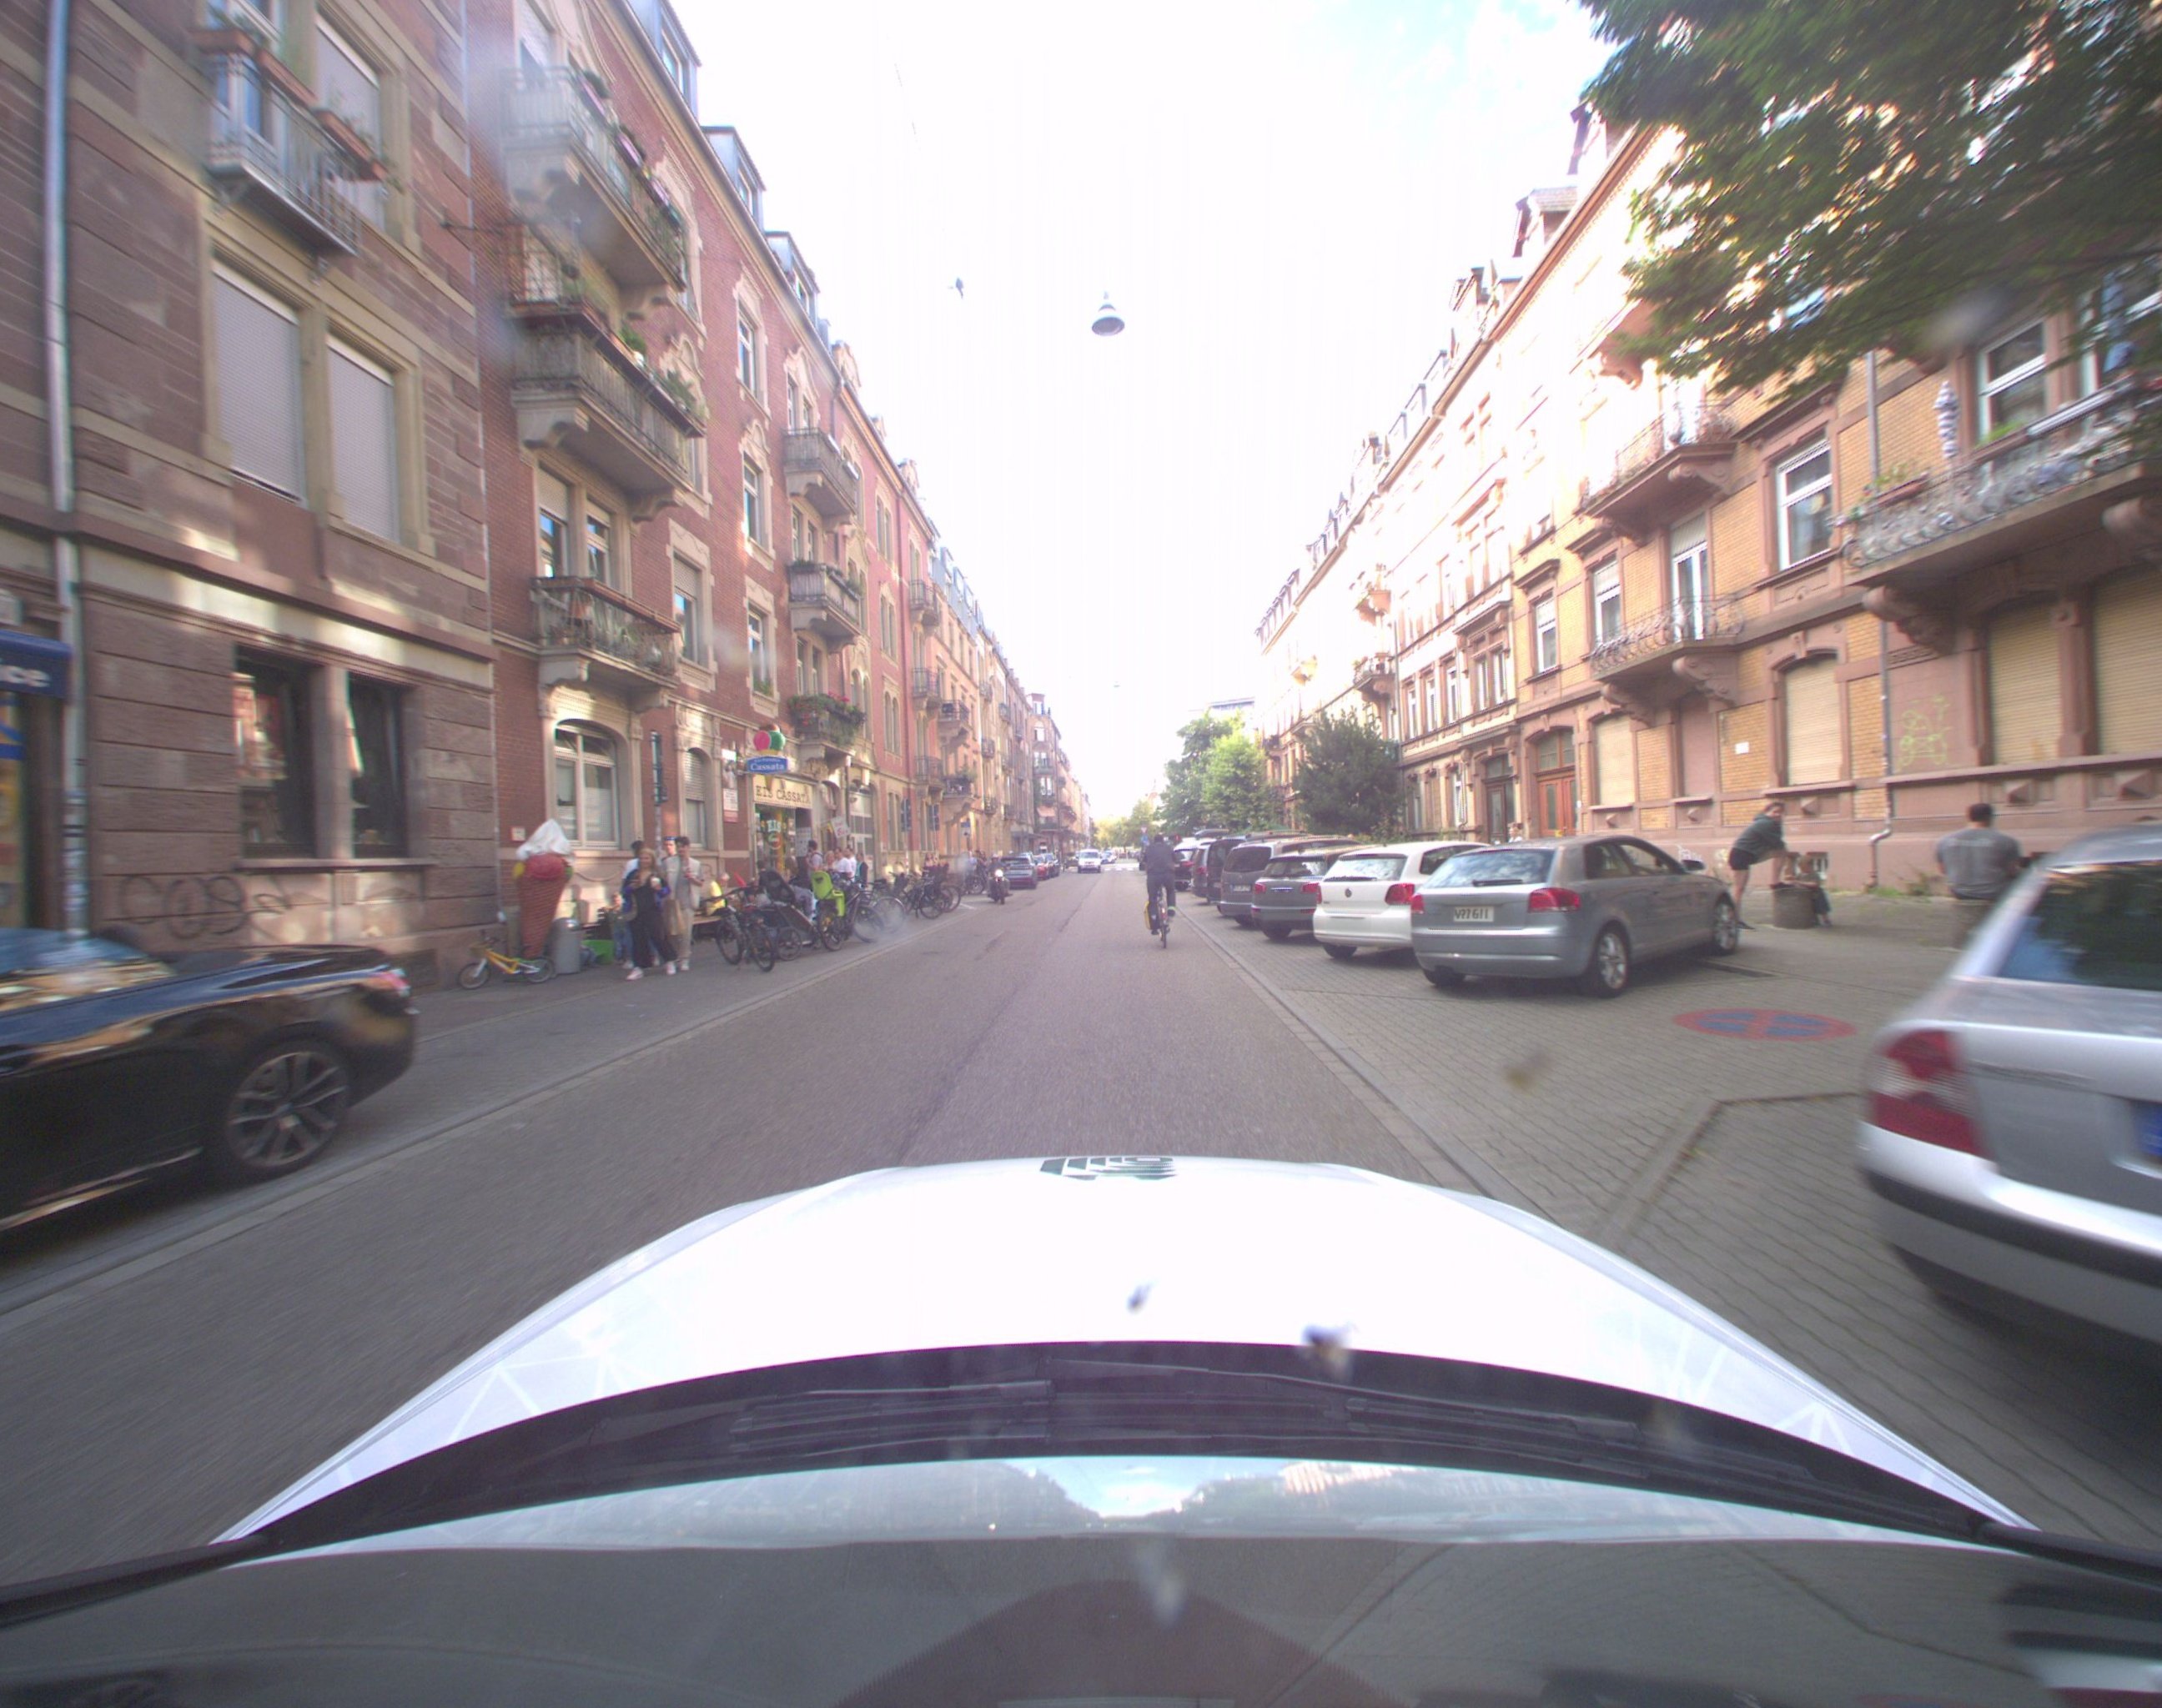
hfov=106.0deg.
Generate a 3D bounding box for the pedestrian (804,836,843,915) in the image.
[{"bbox_3d":[-6.222,0.502,19.690,0.765,1.854,0.659,-1,0,-29],"label":"pedestrian"}]

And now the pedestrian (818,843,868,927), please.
[{"bbox_3d":[-5.079,0.650,17.410,0.600,1.751,0.949,-1,0,15],"label":"pedestrian"}]

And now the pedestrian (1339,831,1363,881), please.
[{"bbox_3d":[8.983,0.063,27.122,0.571,1.659,0.633,-1,0,3],"label":"pedestrian"}]

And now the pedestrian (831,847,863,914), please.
[{"bbox_3d":[-6.070,0.678,21.120,0.667,1.696,0.580,-1,0,-28],"label":"pedestrian"}]

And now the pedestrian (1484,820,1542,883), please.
[{"bbox_3d":[10.873,-0.065,20.511,0.926,1.497,0.811,-3,0,-5],"label":"pedestrian"}]

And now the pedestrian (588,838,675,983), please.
[{"bbox_3d":[-5.717,0.691,10.365,0.753,1.759,0.670,-1,0,32],"label":"pedestrian"}]

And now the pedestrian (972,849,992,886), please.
[{"bbox_3d":[-4.904,0.669,40.283,0.752,1.808,0.864,-1,0,6],"label":"pedestrian"}]

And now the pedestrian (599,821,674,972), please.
[{"bbox_3d":[-6.174,0.572,11.322,0.637,2.013,0.634,-2,0,30],"label":"pedestrian"}]

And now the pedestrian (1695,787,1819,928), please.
[{"bbox_3d":[8.348,0.045,10.093,0.729,1.634,0.833,-4,-1,0],"label":"pedestrian"}]

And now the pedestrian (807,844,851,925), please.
[{"bbox_3d":[-5.573,0.655,18.035,0.600,1.751,0.728,-1,0,13],"label":"pedestrian"}]

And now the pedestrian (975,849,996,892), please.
[{"bbox_3d":[-3.815,0.649,32.399,0.567,1.709,0.661,-1,0,-33],"label":"pedestrian"}]

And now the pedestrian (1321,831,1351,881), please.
[{"bbox_3d":[8.696,0.065,27.756,0.651,1.695,0.691,-1,0,-41],"label":"pedestrian"}]

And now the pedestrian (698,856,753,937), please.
[{"bbox_3d":[-6.662,0.789,15.274,0.600,1.470,0.728,-1,0,13],"label":"pedestrian"}]

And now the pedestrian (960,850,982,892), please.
[{"bbox_3d":[-4.397,0.679,32.549,0.683,1.661,0.546,-1,0,-28],"label":"pedestrian"}]

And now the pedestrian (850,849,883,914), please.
[{"bbox_3d":[-5.690,0.716,21.589,0.639,1.696,0.569,-1,0,40],"label":"pedestrian"}]

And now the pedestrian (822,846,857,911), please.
[{"bbox_3d":[-6.471,0.649,21.874,0.661,1.696,0.764,-1,0,2],"label":"pedestrian"}]

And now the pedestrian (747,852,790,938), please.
[{"bbox_3d":[-5.989,0.772,15.640,0.551,1.616,0.584,-1,0,2],"label":"pedestrian"}]

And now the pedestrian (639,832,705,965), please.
[{"bbox_3d":[-6.029,0.634,12.015,0.640,1.892,0.605,-1,0,32],"label":"pedestrian"}]

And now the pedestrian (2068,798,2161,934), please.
[{"bbox_3d":[10.273,0.117,7.966,0.573,1.280,0.712,0,-2,-36],"label":"pedestrian"}]

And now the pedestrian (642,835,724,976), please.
[{"bbox_3d":[-5.357,0.666,10.965,0.753,1.818,0.670,-1,0,32],"label":"pedestrian"}]

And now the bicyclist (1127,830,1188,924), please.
[{"bbox_3d":[1.231,0.369,13.340,0.930,1.484,0.748,-1,0,2],"label":"bicyclist"}]

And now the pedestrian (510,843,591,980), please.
[{"bbox_3d":[-7.110,0.733,10.923,0.681,1.759,0.670,-1,0,32],"label":"pedestrian"}]

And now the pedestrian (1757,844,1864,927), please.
[{"bbox_3d":[9.020,0.378,10.102,0.552,0.961,0.796,-4,-1,0],"label":"pedestrian"}]

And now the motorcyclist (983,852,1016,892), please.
[{"bbox_3d":[-2.601,0.565,26.066,1.011,1.245,0.802,-1,0,-4],"label":"motorcyclist"}]

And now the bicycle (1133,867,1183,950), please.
[{"bbox_3d":[1.217,0.829,13.294,0.663,1.178,2.499,-1,0,3],"label":"bicycle"}]

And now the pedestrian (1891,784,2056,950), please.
[{"bbox_3d":[8.763,0.110,8.017,0.723,1.502,0.993,-3,1,-36],"label":"pedestrian"}]

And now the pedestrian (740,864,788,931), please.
[{"bbox_3d":[-6.399,0.871,16.456,0.721,1.313,0.606,-1,0,-1],"label":"pedestrian"}]

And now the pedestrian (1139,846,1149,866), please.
[{"bbox_3d":[5.595,0.181,72.429,0.624,1.739,0.779,-3,0,15],"label":"pedestrian"}]

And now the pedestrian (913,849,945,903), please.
[{"bbox_3d":[-4.797,0.679,25.785,0.910,1.661,0.826,-1,0,-6],"label":"pedestrian"}]

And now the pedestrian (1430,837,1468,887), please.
[{"bbox_3d":[9.317,0.201,20.640,0.598,1.219,0.674,-5,0,2],"label":"pedestrian"}]

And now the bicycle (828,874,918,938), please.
[{"bbox_3d":[-3.988,0.971,15.651,1.577,1.120,0.585,-1,0,-34],"label":"bicycle"}]
